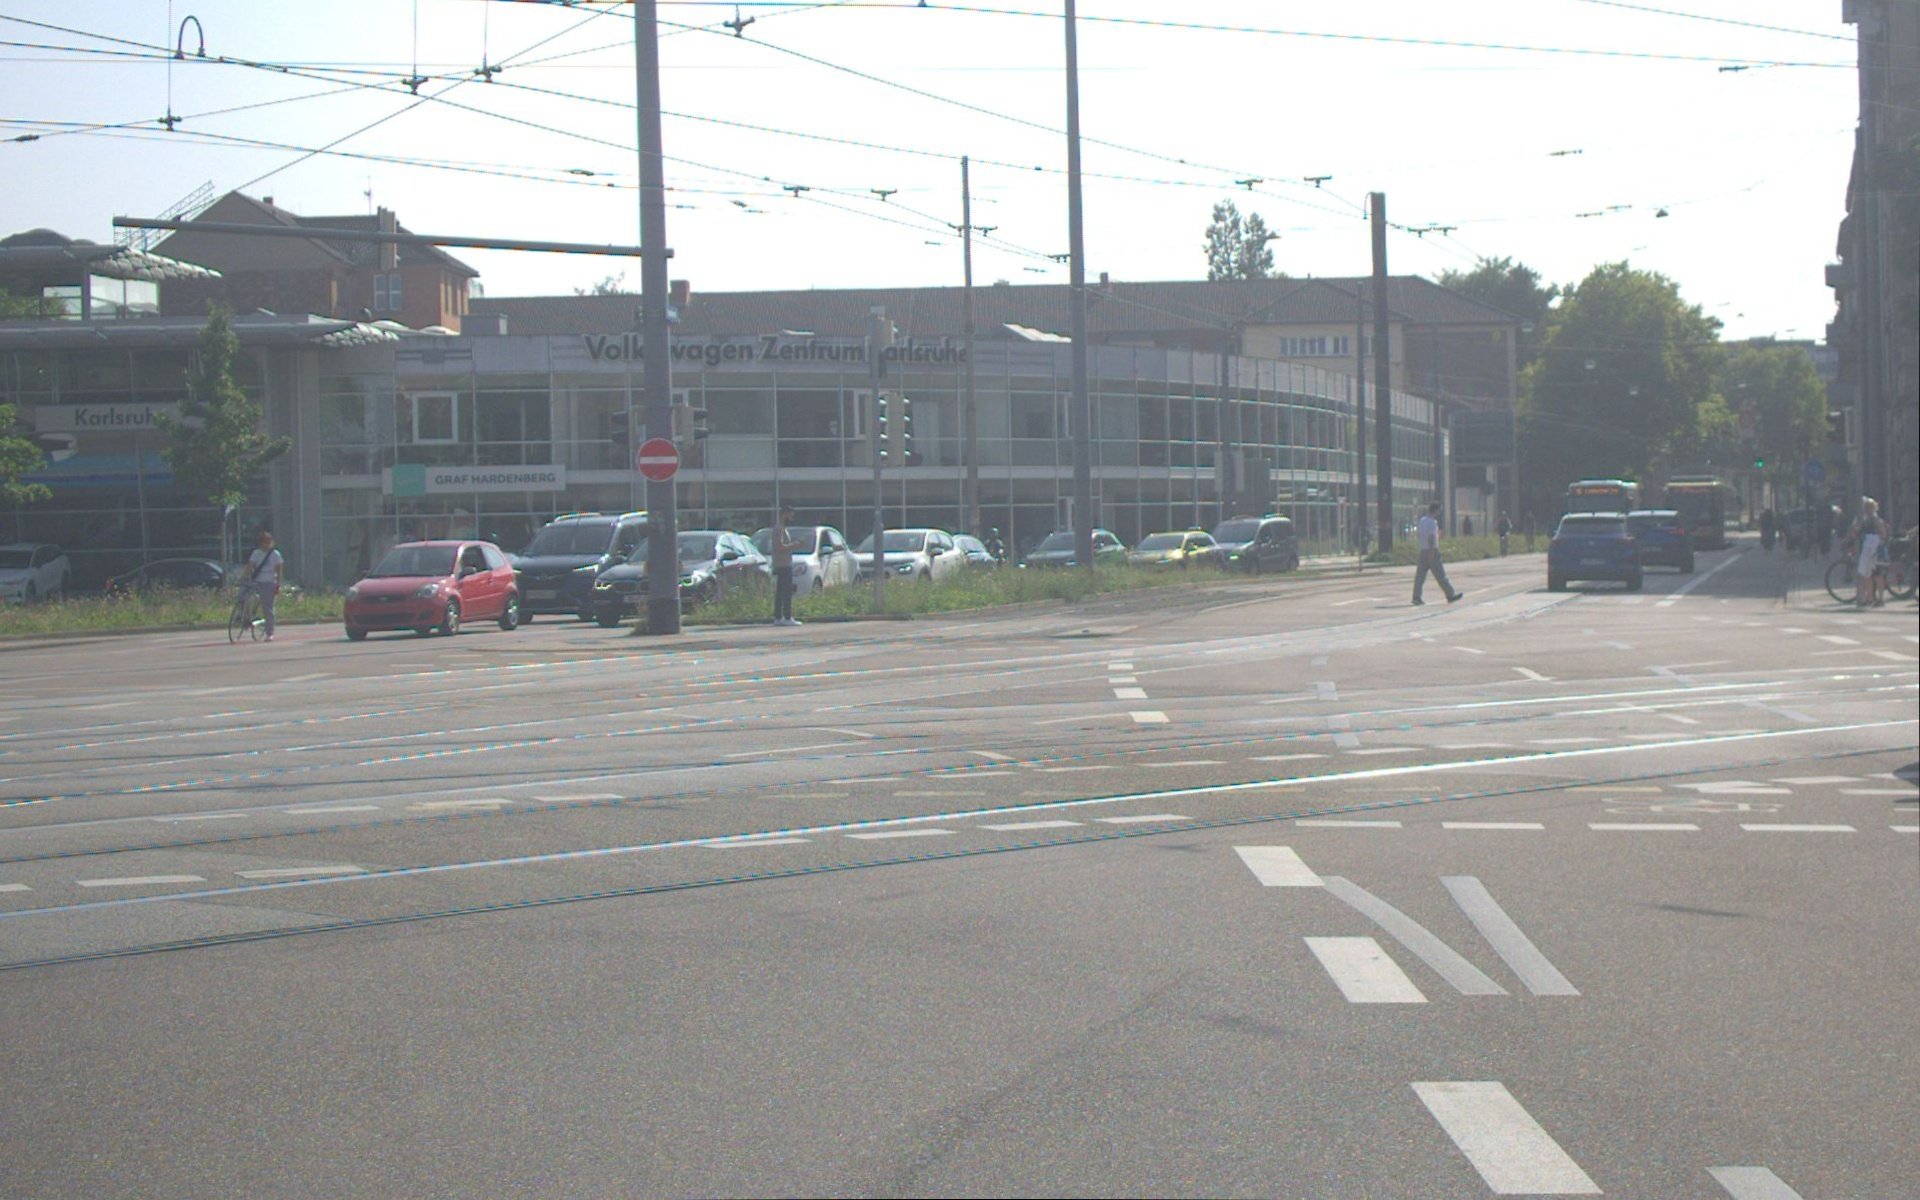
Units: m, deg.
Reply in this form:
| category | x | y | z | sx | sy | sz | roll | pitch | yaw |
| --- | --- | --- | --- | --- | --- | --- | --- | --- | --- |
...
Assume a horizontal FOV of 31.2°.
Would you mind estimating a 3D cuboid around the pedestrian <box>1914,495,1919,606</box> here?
| category | x | y | z | sx | sy | sz | roll | pitch | yaw |
| --- | --- | --- | --- | --- | --- | --- | --- | --- | --- |
| pedestrian | 16.152 | -0.815 | 55.877 | 0.925 | 1.791 | 0.859 | -2 | 1 | -42 |

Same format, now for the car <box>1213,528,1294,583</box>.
| category | x | y | z | sx | sy | sz | roll | pitch | yaw |
| --- | --- | --- | --- | --- | --- | --- | --- | --- | --- |
| car | 8.461 | -1.299 | 98.840 | 1.615 | 1.470 | 3.997 | -3 | 0 | 15 |

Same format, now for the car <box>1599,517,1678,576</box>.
| category | x | y | z | sx | sy | sz | roll | pitch | yaw |
| --- | --- | --- | --- | --- | --- | --- | --- | --- | --- |
| car | 17.427 | -1.388 | 88.202 | 1.826 | 1.423 | 4.410 | -1 | 1 | 13 |

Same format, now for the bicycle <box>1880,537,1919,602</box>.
| category | x | y | z | sx | sy | sz | roll | pitch | yaw |
| --- | --- | --- | --- | --- | --- | --- | --- | --- | --- |
| bicycle | 15.429 | -0.492 | 52.914 | 2.619 | 0.961 | 1.093 | -2 | 1 | -39 |

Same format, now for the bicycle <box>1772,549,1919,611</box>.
| category | x | y | z | sx | sy | sz | roll | pitch | yaw |
| --- | --- | --- | --- | --- | --- | --- | --- | --- | --- |
| bicycle | 14.845 | -0.347 | 56.911 | 2.618 | 0.961 | 1.093 | -2 | 1 | -25 |

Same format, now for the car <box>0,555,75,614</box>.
| category | x | y | z | sx | sy | sz | roll | pitch | yaw |
| --- | --- | --- | --- | --- | --- | --- | --- | --- | --- |
| car | -25.117 | -0.426 | 91.906 | 1.699 | 1.517 | 4.099 | -1 | 1 | 3 |

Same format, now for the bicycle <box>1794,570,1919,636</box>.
| category | x | y | z | sx | sy | sz | roll | pitch | yaw |
| --- | --- | --- | --- | --- | --- | --- | --- | --- | --- |
| bicycle | 14.522 | 0.036 | 54.635 | 2.619 | 0.961 | 1.093 | -2 | 1 | -39 |

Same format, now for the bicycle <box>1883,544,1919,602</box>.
| category | x | y | z | sx | sy | sz | roll | pitch | yaw |
| --- | --- | --- | --- | --- | --- | --- | --- | --- | --- |
| bicycle | 17.112 | -0.486 | 58.525 | 2.618 | 0.961 | 1.093 | -2 | 1 | -25 |

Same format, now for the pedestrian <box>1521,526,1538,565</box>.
| category | x | y | z | sx | sy | sz | roll | pitch | yaw |
| --- | --- | --- | --- | --- | --- | --- | --- | --- | --- |
| pedestrian | 24.123 | -2.314 | 145.611 | 0.595 | 1.625 | 0.637 | 0 | 1 | 16 |

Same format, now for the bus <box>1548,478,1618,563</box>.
| category | x | y | z | sx | sy | sz | roll | pitch | yaw |
| --- | --- | --- | --- | --- | --- | --- | --- | --- | --- |
| bus | 28.268 | -3.579 | 155.870 | 2.922 | 3.606 | 16.739 | 0 | 1 | 10 |

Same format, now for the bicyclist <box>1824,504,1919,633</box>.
| category | x | y | z | sx | sy | sz | roll | pitch | yaw |
| --- | --- | --- | --- | --- | --- | --- | --- | --- | --- |
| bicyclist | 14.477 | -0.505 | 54.601 | 0.934 | 2.017 | 1.093 | -2 | 1 | -39 |

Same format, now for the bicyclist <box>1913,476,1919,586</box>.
| category | x | y | z | sx | sy | sz | roll | pitch | yaw |
| --- | --- | --- | --- | --- | --- | --- | --- | --- | --- |
| bicyclist | 15.422 | -1.072 | 52.906 | 0.934 | 1.702 | 1.093 | -2 | 1 | -39 |

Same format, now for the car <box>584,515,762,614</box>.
| category | x | y | z | sx | sy | sz | roll | pitch | yaw |
| --- | --- | --- | --- | --- | --- | --- | --- | --- | --- |
| car | -4.577 | -0.592 | 55.382 | 1.615 | 1.470 | 3.998 | -3 | 0 | 14 |

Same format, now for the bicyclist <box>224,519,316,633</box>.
| category | x | y | z | sx | sy | sz | roll | pitch | yaw |
| --- | --- | --- | --- | --- | --- | --- | --- | --- | --- |
| bicyclist | -10.727 | -0.382 | 53.472 | 0.958 | 1.742 | 1.165 | 0 | 1 | 15 |

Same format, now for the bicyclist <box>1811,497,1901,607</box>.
| category | x | y | z | sx | sy | sz | roll | pitch | yaw |
| --- | --- | --- | --- | --- | --- | --- | --- | --- | --- |
| bicyclist | 14.824 | -0.800 | 56.893 | 0.934 | 1.793 | 1.093 | -1 | 1 | -25 |

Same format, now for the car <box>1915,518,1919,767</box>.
| category | x | y | z | sx | sy | sz | roll | pitch | yaw |
| --- | --- | --- | --- | --- | --- | --- | --- | --- | --- |
| car | 6.235 | 0.281 | 17.603 | 1.683 | 1.437 | 4.372 | -1 | 1 | 3 |

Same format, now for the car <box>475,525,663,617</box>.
| category | x | y | z | sx | sy | sz | roll | pitch | yaw |
| --- | --- | --- | --- | --- | --- | --- | --- | --- | --- |
| car | -6.814 | -0.534 | 60.268 | 1.961 | 1.470 | 3.998 | -3 | 0 | 14 |

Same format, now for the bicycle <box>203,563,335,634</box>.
| category | x | y | z | sx | sy | sz | roll | pitch | yaw |
| --- | --- | --- | --- | --- | --- | --- | --- | --- | --- |
| bicycle | -10.728 | -0.038 | 53.466 | 0.958 | 1.053 | 2.606 | 0 | 1 | 15 |

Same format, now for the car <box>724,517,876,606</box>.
| category | x | y | z | sx | sy | sz | roll | pitch | yaw |
| --- | --- | --- | --- | --- | --- | --- | --- | --- | --- |
| car | -2.841 | -0.708 | 61.780 | 1.615 | 1.470 | 3.998 | -3 | 0 | 14 |

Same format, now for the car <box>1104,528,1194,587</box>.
| category | x | y | z | sx | sy | sz | roll | pitch | yaw |
| --- | --- | --- | --- | --- | --- | --- | --- | --- | --- |
| car | 5.149 | -1.162 | 93.101 | 1.615 | 1.470 | 3.997 | -3 | 0 | 15 |

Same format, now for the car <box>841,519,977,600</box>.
| category | x | y | z | sx | sy | sz | roll | pitch | yaw |
| --- | --- | --- | --- | --- | --- | --- | --- | --- | --- |
| car | -0.973 | -0.816 | 67.971 | 1.615 | 1.470 | 3.997 | -3 | 0 | 15 |

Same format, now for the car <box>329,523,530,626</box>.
| category | x | y | z | sx | sy | sz | roll | pitch | yaw |
| --- | --- | --- | --- | --- | --- | --- | --- | --- | --- |
| car | -8.146 | -0.415 | 53.161 | 1.615 | 1.470 | 3.998 | -3 | 0 | 14 |

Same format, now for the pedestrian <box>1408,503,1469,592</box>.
| category | x | y | z | sx | sy | sz | roll | pitch | yaw |
| --- | --- | --- | --- | --- | --- | --- | --- | --- | --- |
| pedestrian | 8.191 | -0.902 | 58.886 | 0.777 | 1.498 | 0.710 | -1 | 1 | -19 |

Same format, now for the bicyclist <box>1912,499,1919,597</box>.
| category | x | y | z | sx | sy | sz | roll | pitch | yaw |
| --- | --- | --- | --- | --- | --- | --- | --- | --- | --- |
| bicyclist | 16.932 | -0.888 | 58.429 | 0.934 | 1.674 | 1.093 | -1 | 1 | -25 |

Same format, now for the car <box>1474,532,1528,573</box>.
| category | x | y | z | sx | sy | sz | roll | pitch | yaw |
| --- | --- | --- | --- | --- | --- | --- | --- | --- | --- |
| car | 21.013 | -1.848 | 133.482 | 1.615 | 1.470 | 3.997 | -3 | 0 | 15 |

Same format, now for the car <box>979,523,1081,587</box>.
| category | x | y | z | sx | sy | sz | roll | pitch | yaw |
| --- | --- | --- | --- | --- | --- | --- | --- | --- | --- |
| car | 1.776 | -1.140 | 85.937 | 1.615 | 1.470 | 3.997 | -3 | 0 | 15 |

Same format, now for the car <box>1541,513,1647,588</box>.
| category | x | y | z | sx | sy | sz | roll | pitch | yaw |
| --- | --- | --- | --- | --- | --- | --- | --- | --- | --- |
| car | 12.837 | -1.014 | 69.444 | 1.826 | 1.423 | 4.410 | -1 | 1 | 14 |

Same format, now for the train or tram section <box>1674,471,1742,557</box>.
| category | x | y | z | sx | sy | sz | roll | pitch | yaw |
| --- | --- | --- | --- | --- | --- | --- | --- | --- | --- |
| train or tram section | 33.530 | -3.868 | 154.374 | 2.656 | 3.686 | 10.585 | -1 | 1 | 11 |
